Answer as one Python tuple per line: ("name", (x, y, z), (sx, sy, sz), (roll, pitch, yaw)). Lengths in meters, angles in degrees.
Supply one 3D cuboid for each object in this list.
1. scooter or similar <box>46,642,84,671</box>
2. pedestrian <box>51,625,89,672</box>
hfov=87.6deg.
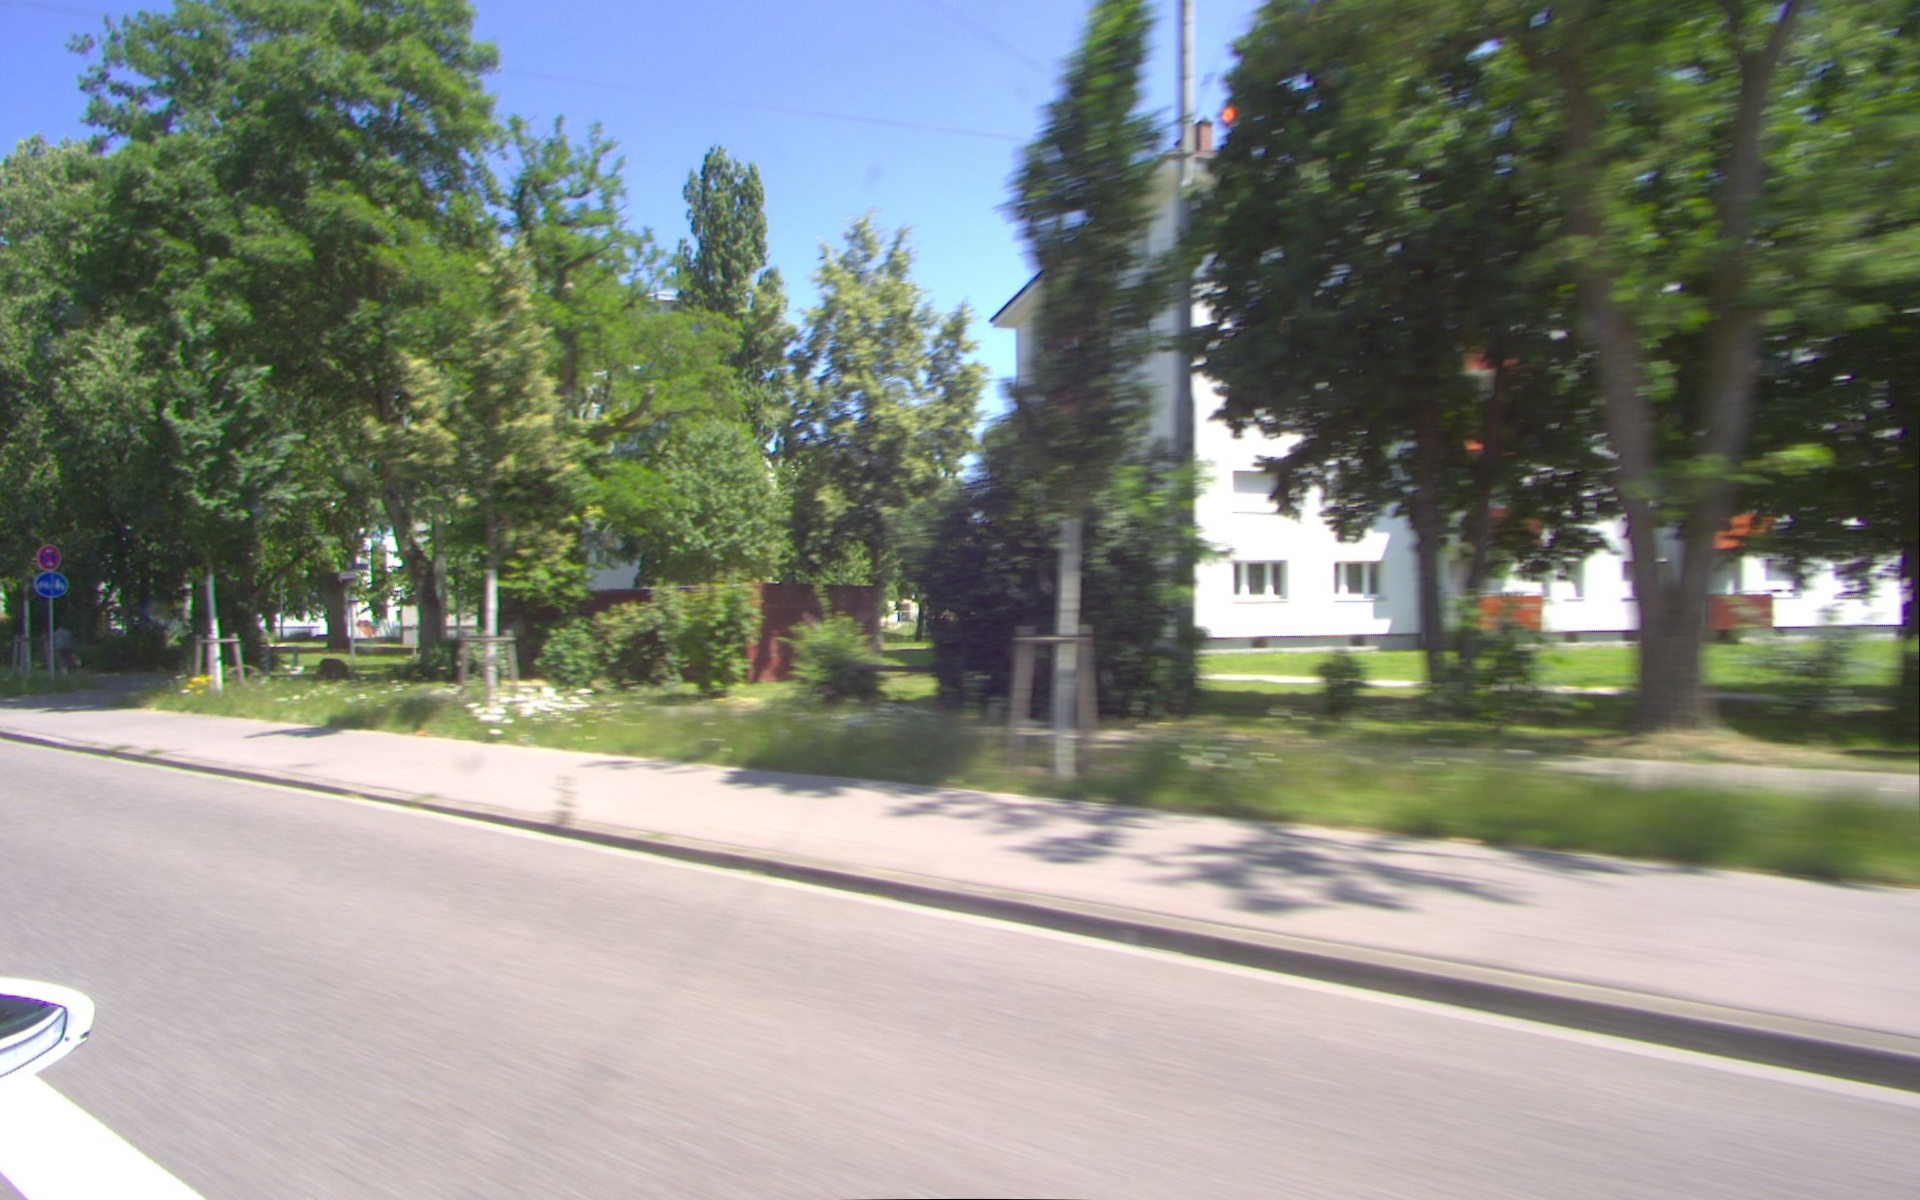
("scooter or similar", (-27.704, 1.741, 31.003), (0.752, 0.904, 0.706), (-1, -2, 35))
("pedestrian", (-27.277, 1.476, 30.700), (0.752, 1.416, 0.706), (-1, -2, 35))
